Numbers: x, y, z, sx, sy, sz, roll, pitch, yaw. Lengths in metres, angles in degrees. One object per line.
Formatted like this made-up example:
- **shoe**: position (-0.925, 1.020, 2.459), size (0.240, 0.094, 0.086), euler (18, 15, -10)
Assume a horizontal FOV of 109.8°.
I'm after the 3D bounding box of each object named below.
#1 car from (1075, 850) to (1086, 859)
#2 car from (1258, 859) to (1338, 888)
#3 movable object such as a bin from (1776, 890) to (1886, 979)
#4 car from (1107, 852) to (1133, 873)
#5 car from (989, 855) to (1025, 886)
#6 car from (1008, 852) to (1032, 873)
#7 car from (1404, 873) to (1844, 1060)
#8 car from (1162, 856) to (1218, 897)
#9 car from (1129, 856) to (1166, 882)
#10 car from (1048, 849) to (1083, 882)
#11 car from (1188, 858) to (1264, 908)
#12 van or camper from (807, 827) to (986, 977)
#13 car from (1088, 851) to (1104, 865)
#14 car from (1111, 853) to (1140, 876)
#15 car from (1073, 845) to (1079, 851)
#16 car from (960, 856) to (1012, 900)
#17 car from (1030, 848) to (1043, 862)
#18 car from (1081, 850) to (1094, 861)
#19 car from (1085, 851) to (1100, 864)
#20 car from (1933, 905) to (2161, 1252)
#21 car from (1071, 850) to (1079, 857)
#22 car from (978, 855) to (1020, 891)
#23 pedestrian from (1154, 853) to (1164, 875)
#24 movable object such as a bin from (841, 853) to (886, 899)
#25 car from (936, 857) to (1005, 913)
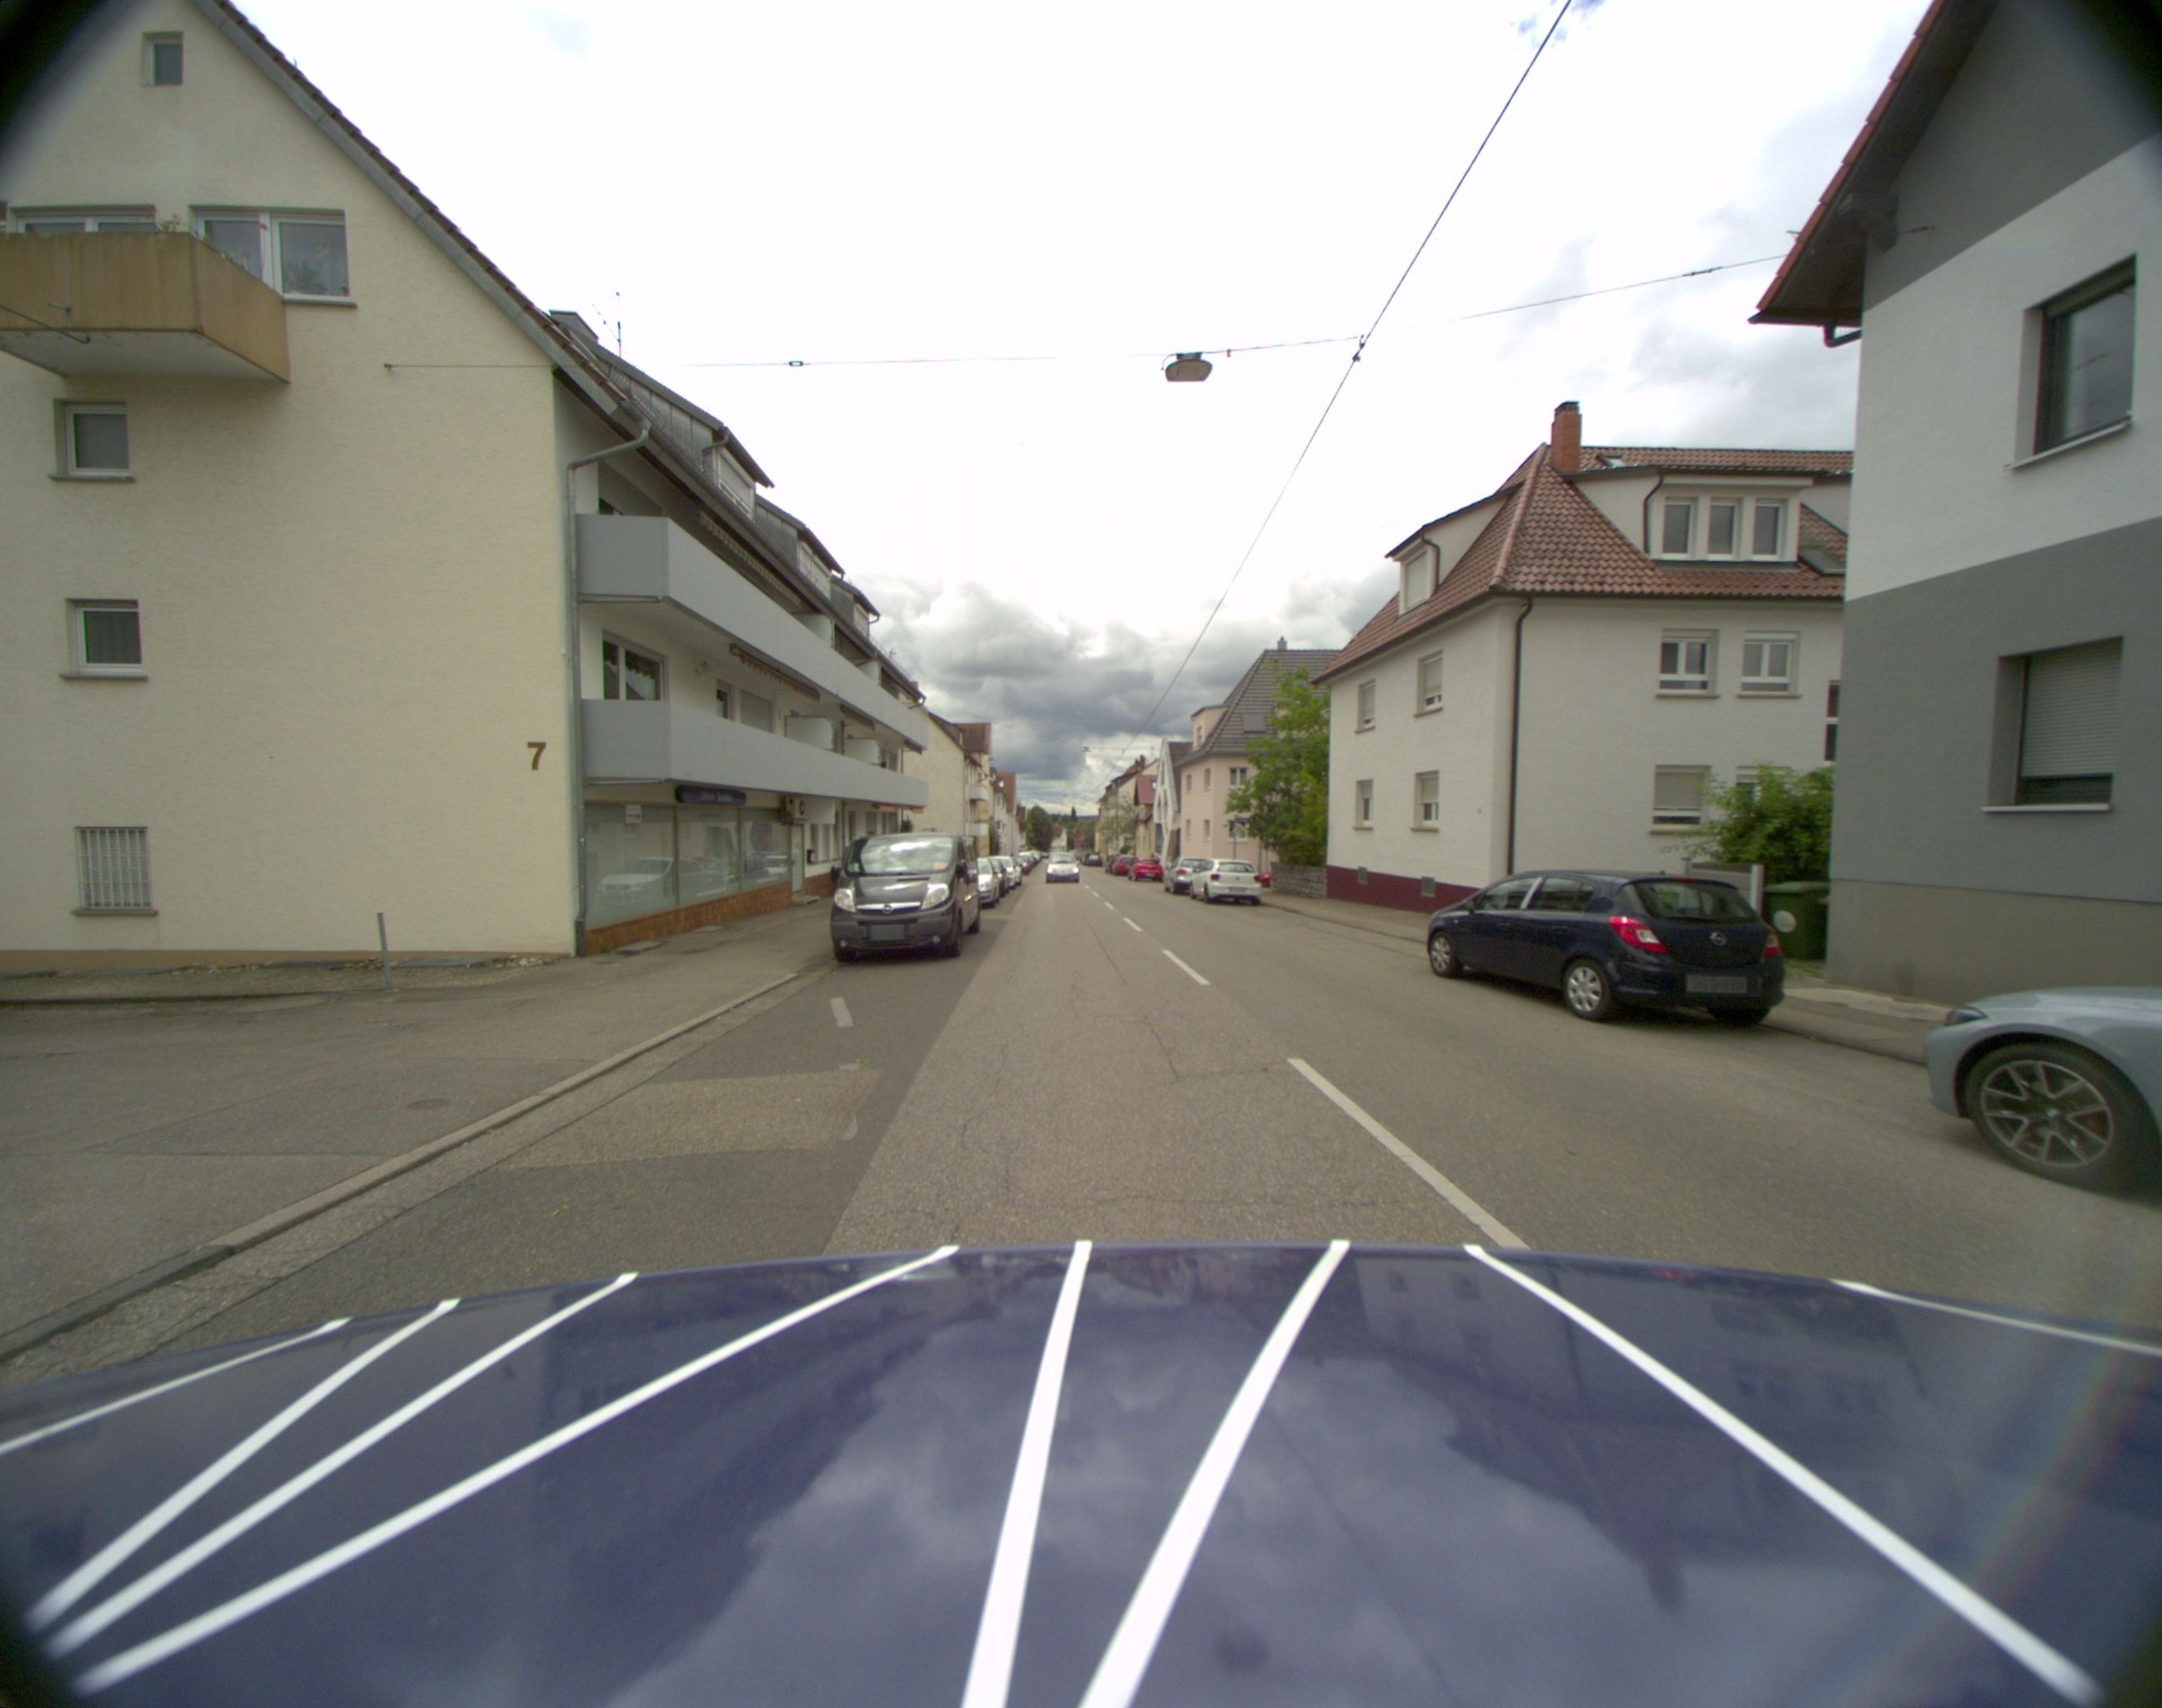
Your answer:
- **car**: position (-0.088, 0.022, 140.969), size (1.706, 1.524, 3.734), euler (3, 1, -2)
- **car**: position (11.221, 1.008, 39.451), size (3.732, 1.402, 1.707), euler (-1, 1, 2)
- **movable object such as a bin**: position (10.142, 1.068, 10.300), size (0.727, 1.106, 0.764), euler (-2, 1, -2)
- **car**: position (3.171, 0.686, 62.277), size (1.706, 1.524, 3.734), euler (3, 1, -2)
- **car**: position (-3.649, 0.792, 38.062), size (1.585, 1.397, 3.596), euler (-2, 1, -3)
- **car**: position (-4.561, 0.603, 57.423), size (1.613, 1.447, 3.858), euler (-2, 1, -3)
- **car**: position (5.566, 1.035, 8.565), size (1.843, 1.437, 3.998), euler (2, 0, -5)
- **car**: position (4.268, 0.860, 30.153), size (1.653, 1.438, 3.773), euler (1, 1, 0)
- **car**: position (3.975, 0.870, 45.862), size (1.706, 1.402, 3.734), euler (3, 1, -2)
- **car**: position (-0.784, 0.564, 40.697), size (1.721, 1.587, 3.999), euler (-2, 1, 1)
- **car**: position (4.708, 0.897, 25.190), size (1.654, 1.438, 3.810), euler (1, 1, -2)
- **van or camper**: position (-2.870, 0.647, 13.060), size (1.999, 2.002, 5.062), euler (-2, 1, -3)
- **car**: position (1.850, 0.506, 94.435), size (1.706, 1.524, 3.734), euler (3, 1, -2)
- **car**: position (3.298, 0.772, 57.177), size (1.706, 1.524, 3.734), euler (3, 1, -2)
- **car**: position (-1.646, -1.820, 242.788), size (1.705, 1.706, 3.737), euler (3, 1, 4)
- **car**: position (-3.476, 0.842, 28.374), size (1.613, 1.447, 3.858), euler (-2, 1, -3)
- **car**: position (-6.078, 0.156, 103.423), size (1.613, 1.789, 3.858), euler (-2, 1, -3)
- **car**: position (1.030, 0.245, 119.953), size (1.706, 1.524, 3.734), euler (3, 1, -2)
- **car**: position (1.533, 0.449, 100.124), size (1.706, 1.524, 3.734), euler (3, 1, -2)
- **car**: position (5.651, 1.042, 1.923), size (1.842, 1.437, 4.466), euler (2, 0, -2)
- **car**: position (-1.347, -0.170, 174.224), size (1.706, 1.524, 3.734), euler (3, 1, -2)
- **car**: position (-3.610, 0.803, 33.866), size (1.613, 1.447, 3.312), euler (-2, 1, -3)
- **pedestrian**: position (5.621, 0.690, 54.547), size (0.583, 1.524, 0.600), euler (-2, 1, -2)
- **movable object such as a bin**: position (-7.176, 0.715, 25.131), size (1.083, 1.428, 1.259), euler (-2, 1, -2)
- **car**: position (-3.274, 0.871, 23.171), size (1.613, 1.447, 4.332), euler (-2, 1, -2)
